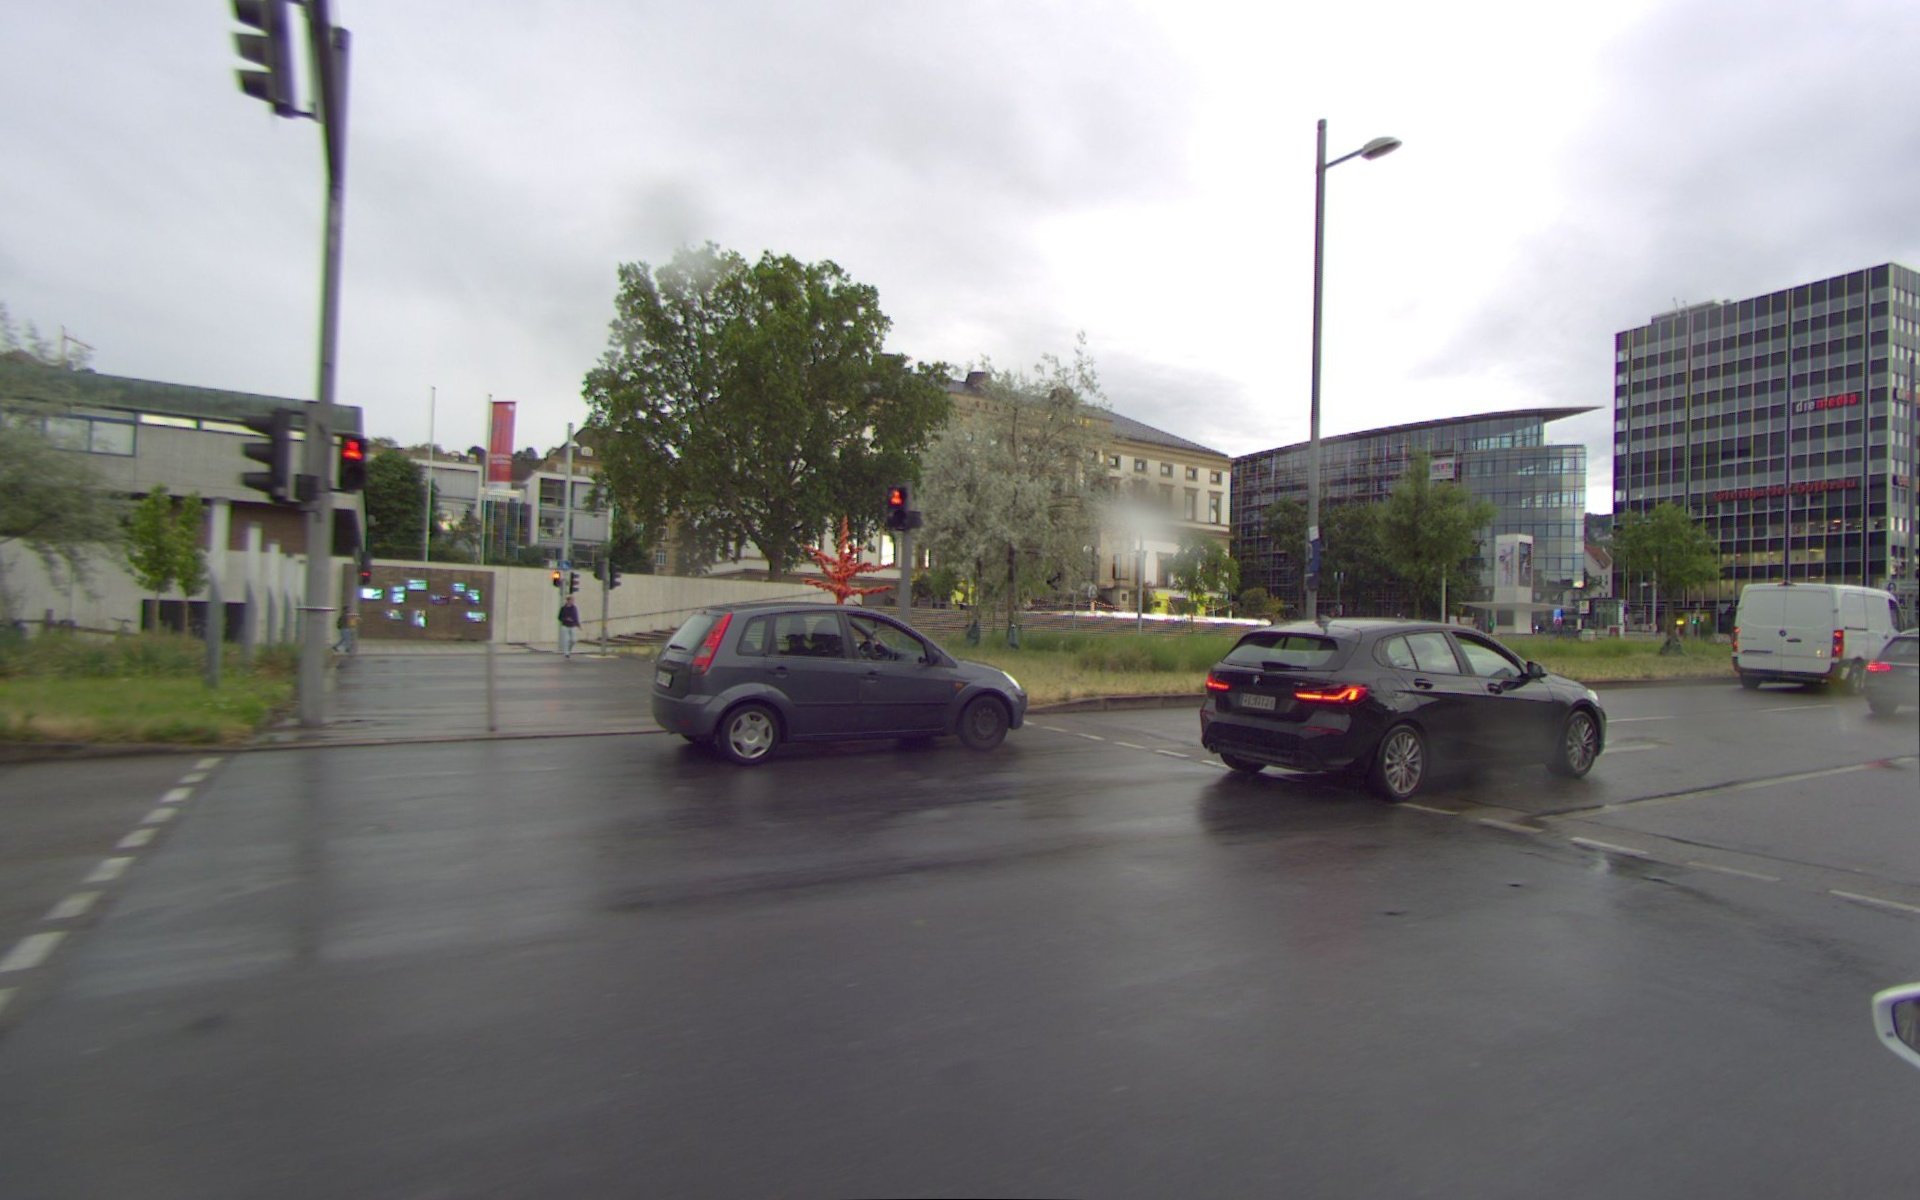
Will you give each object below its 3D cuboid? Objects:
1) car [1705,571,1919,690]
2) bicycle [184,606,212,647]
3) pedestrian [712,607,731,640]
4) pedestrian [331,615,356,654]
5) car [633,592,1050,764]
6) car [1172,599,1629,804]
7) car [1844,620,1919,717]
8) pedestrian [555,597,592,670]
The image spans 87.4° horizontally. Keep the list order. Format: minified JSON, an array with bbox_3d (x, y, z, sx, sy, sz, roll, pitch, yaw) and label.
[{"bbox_3d":[19.470,0.734,22.784,4.947,2.344,2.282,4,-1,-30],"label":"car"},{"bbox_3d":[-26.399,0.916,34.795,0.554,1.324,1.462,4,-2,-43],"label":"bicycle"},{"bbox_3d":[-10.838,1.065,45.590,0.626,1.441,0.489,4,-1,-33],"label":"pedestrian"},{"bbox_3d":[-22.867,1.290,37.264,0.567,1.401,0.467,3,-1,-12],"label":"pedestrian"},{"bbox_3d":[-1.114,0.680,10.043,3.857,1.434,1.534,1,0,-31],"label":"car"},{"bbox_3d":[4.110,0.805,9.194,4.174,1.491,1.744,2,-1,-31],"label":"car"},{"bbox_3d":[16.557,1.117,16.637,3.356,1.514,1.822,1,0,-28],"label":"car"},{"bbox_3d":[-11.600,0.990,30.159,0.759,2.120,0.721,0,3,44],"label":"pedestrian"}]
